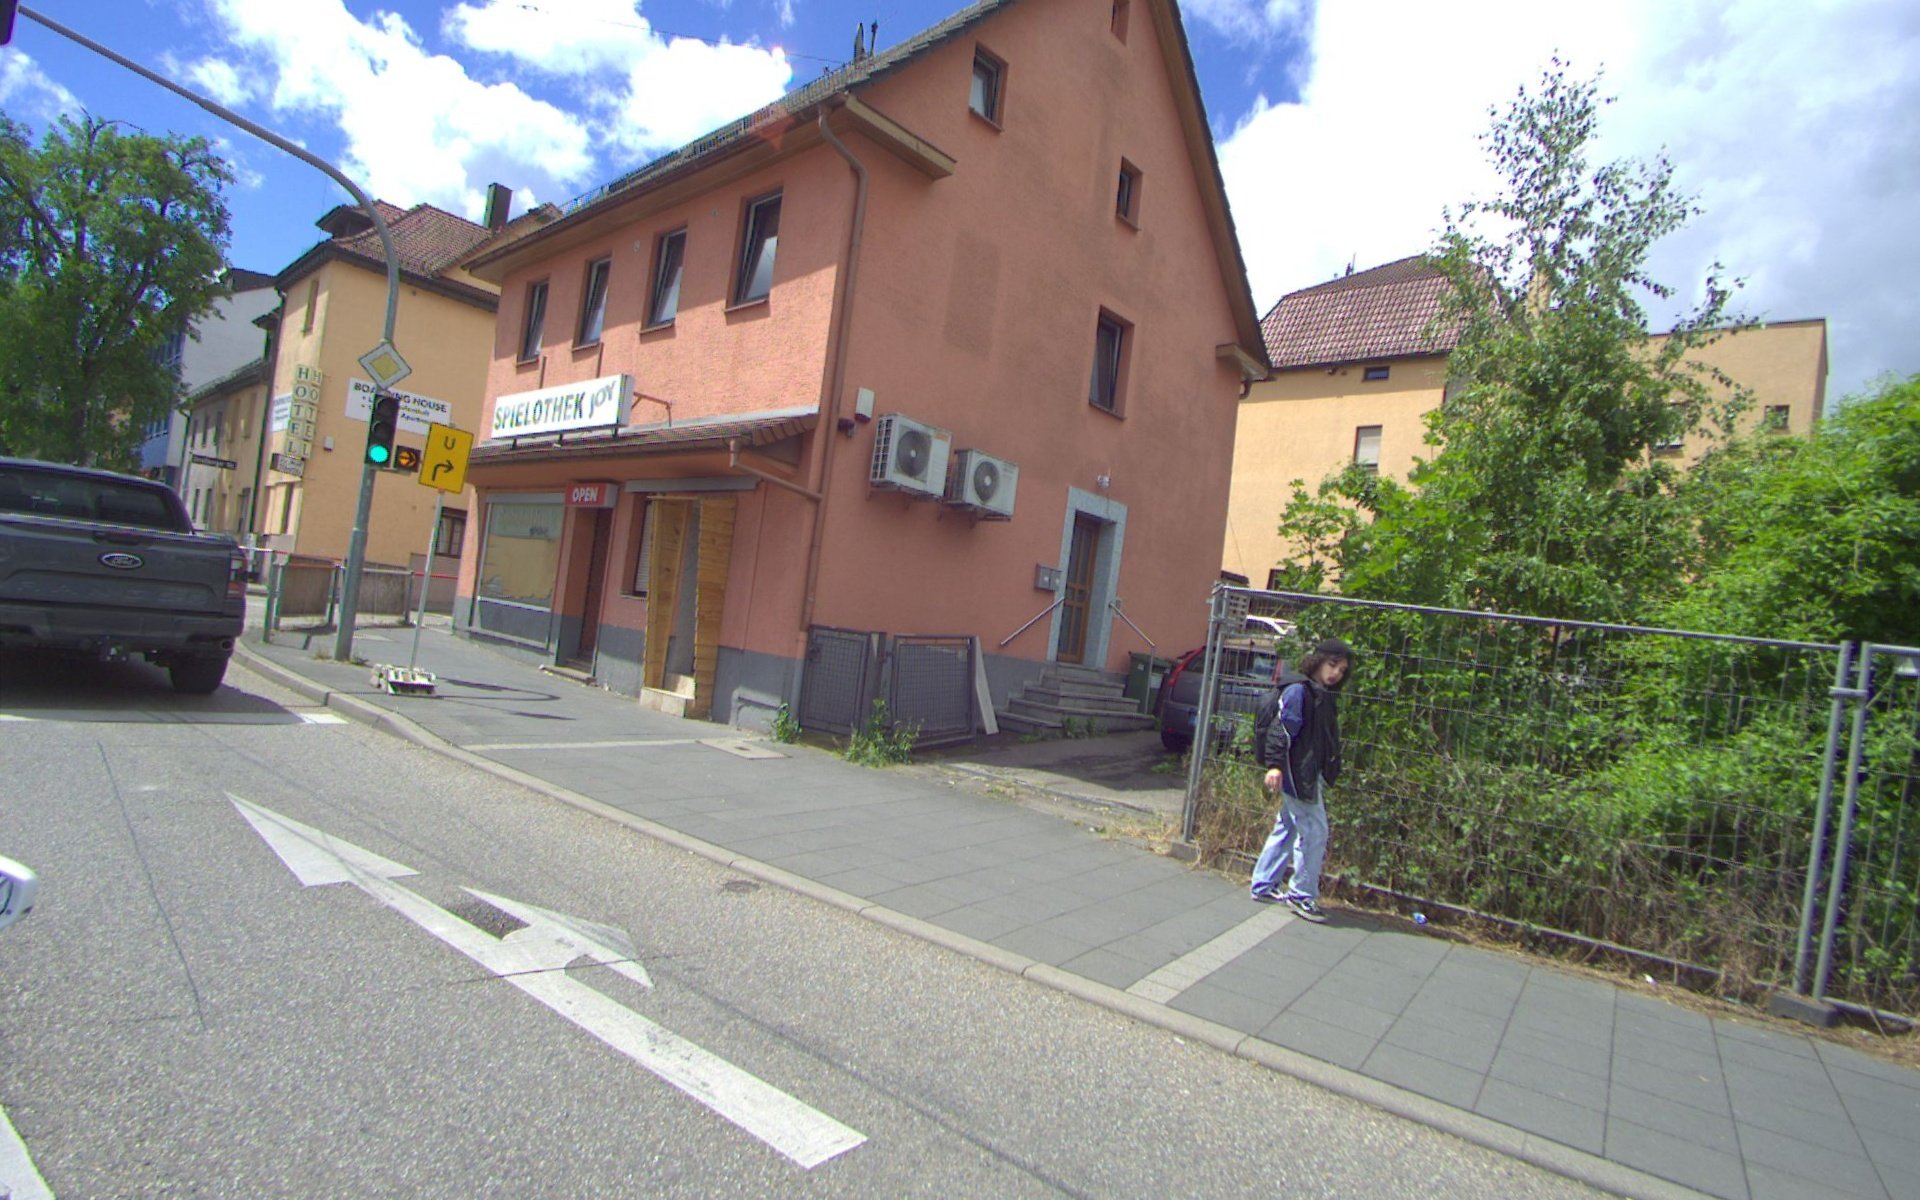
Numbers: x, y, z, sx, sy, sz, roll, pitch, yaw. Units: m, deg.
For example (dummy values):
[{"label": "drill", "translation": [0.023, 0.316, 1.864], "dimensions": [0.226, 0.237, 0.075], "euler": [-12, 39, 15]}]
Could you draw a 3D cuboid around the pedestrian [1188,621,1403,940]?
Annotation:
[{"label": "pedestrian", "translation": [2.002, 1.026, 6.001], "dimensions": [0.767, 1.663, 0.762], "euler": [9, 1, 43]}]

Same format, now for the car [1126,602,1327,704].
[{"label": "car", "translation": [6.204, 1.220, 23.647], "dimensions": [3.947, 1.804, 1.990], "euler": [7, -1, 44]}]

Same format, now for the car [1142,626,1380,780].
[{"label": "car", "translation": [3.786, 1.199, 12.482], "dimensions": [1.627, 1.516, 2.796], "euler": [7, 2, 43]}]

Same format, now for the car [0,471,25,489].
[{"label": "car", "translation": [-96.758, -12.207, 102.453], "dimensions": [1.807, 1.486, 3.957], "euler": [8, -1, -38]}]

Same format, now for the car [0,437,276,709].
[{"label": "car", "translation": [-8.355, -0.315, 9.212], "dimensions": [5.076, 1.909, 1.997], "euler": [5, -1, 40]}]

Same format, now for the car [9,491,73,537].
[{"label": "car", "translation": [-39.464, -3.678, 43.166], "dimensions": [1.782, 1.615, 3.950], "euler": [7, -1, -45]}]
